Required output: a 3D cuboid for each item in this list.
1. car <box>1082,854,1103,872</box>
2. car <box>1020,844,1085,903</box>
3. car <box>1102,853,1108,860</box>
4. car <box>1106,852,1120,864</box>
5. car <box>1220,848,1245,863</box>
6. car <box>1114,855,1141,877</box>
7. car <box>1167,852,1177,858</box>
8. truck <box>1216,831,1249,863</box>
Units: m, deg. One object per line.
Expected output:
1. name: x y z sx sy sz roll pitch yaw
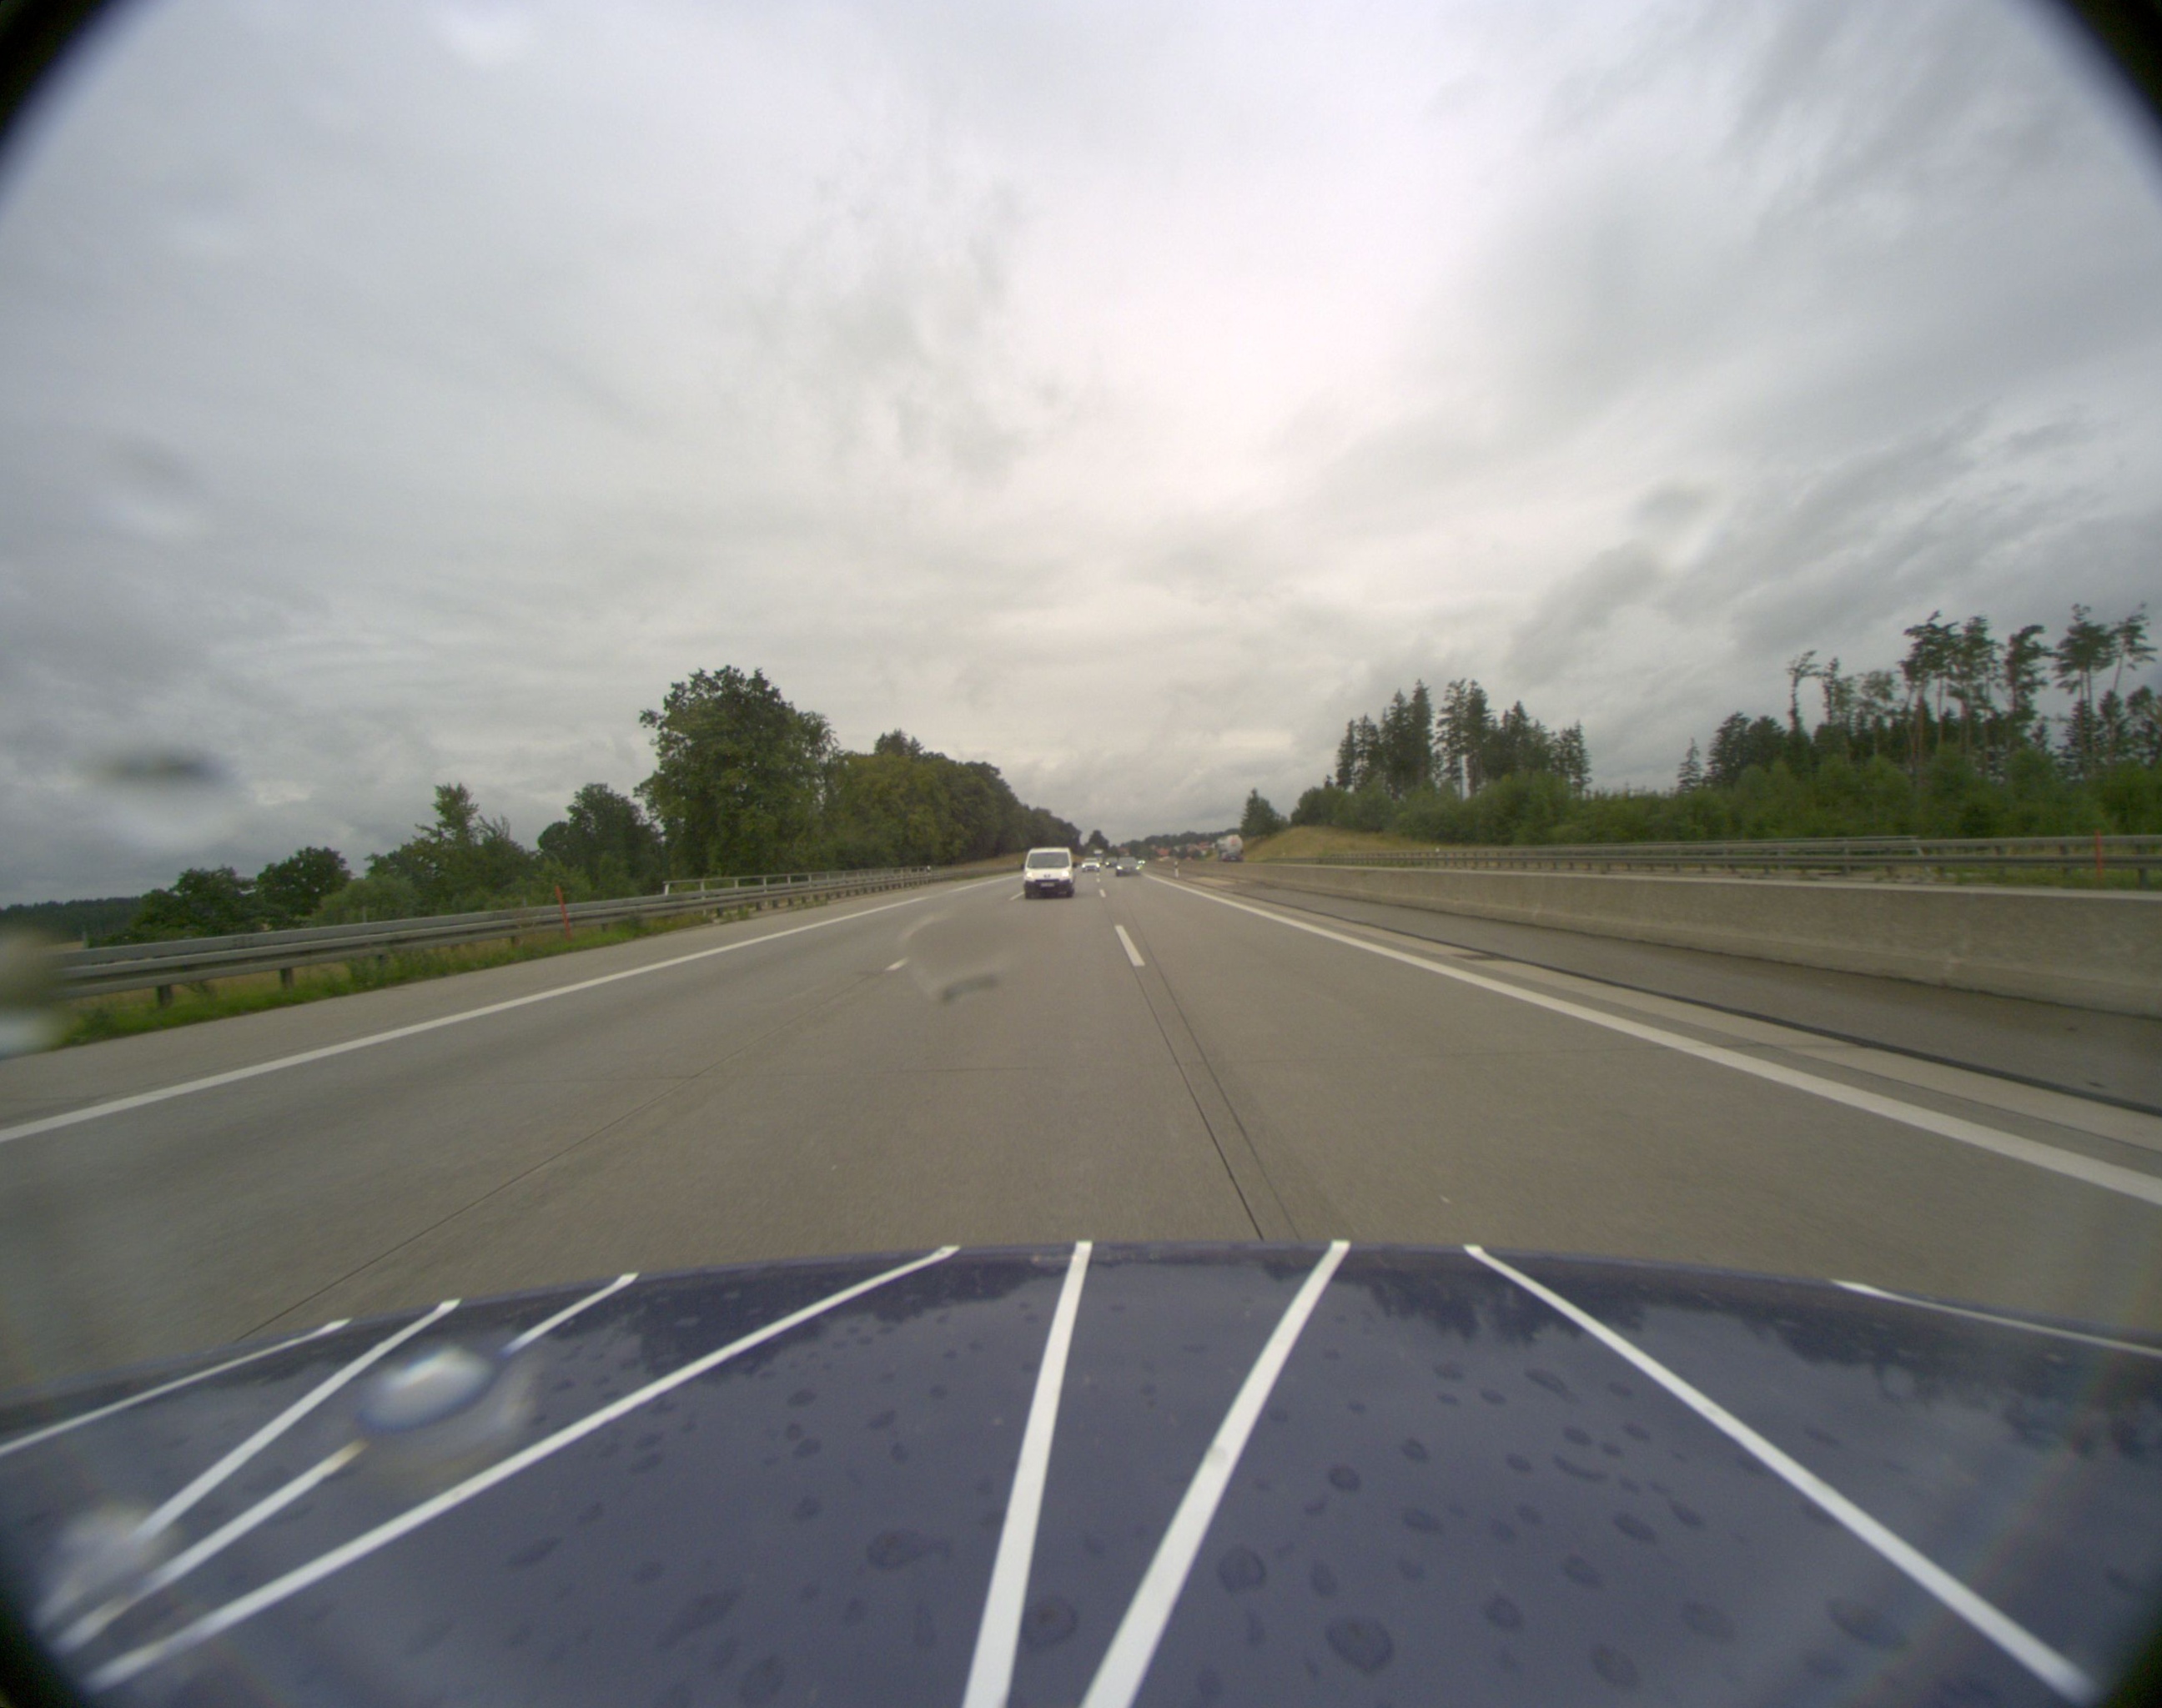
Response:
1. car: 1.134 0.872 78.404 2.031 1.669 4.318 -2 0 1
2. car: -1.051 0.700 30.975 2.042 2.111 6.068 -2 0 3
3. car: 6.576 0.696 207.898 1.776 1.606 5.618 -2 0 2
4. car: 4.589 0.523 108.900 1.885 1.669 4.319 -2 0 3
5. car: 16.362 0.121 82.101 1.833 1.525 5.090 -2 0 2
6. car: 3.511 0.875 58.010 1.789 1.472 4.570 -2 0 1
7. car: 21.944 0.278 182.927 1.950 1.280 4.360 -2 0 3
8. truck: 20.626 -0.975 103.822 2.844 4.108 8.851 -2 0 1
